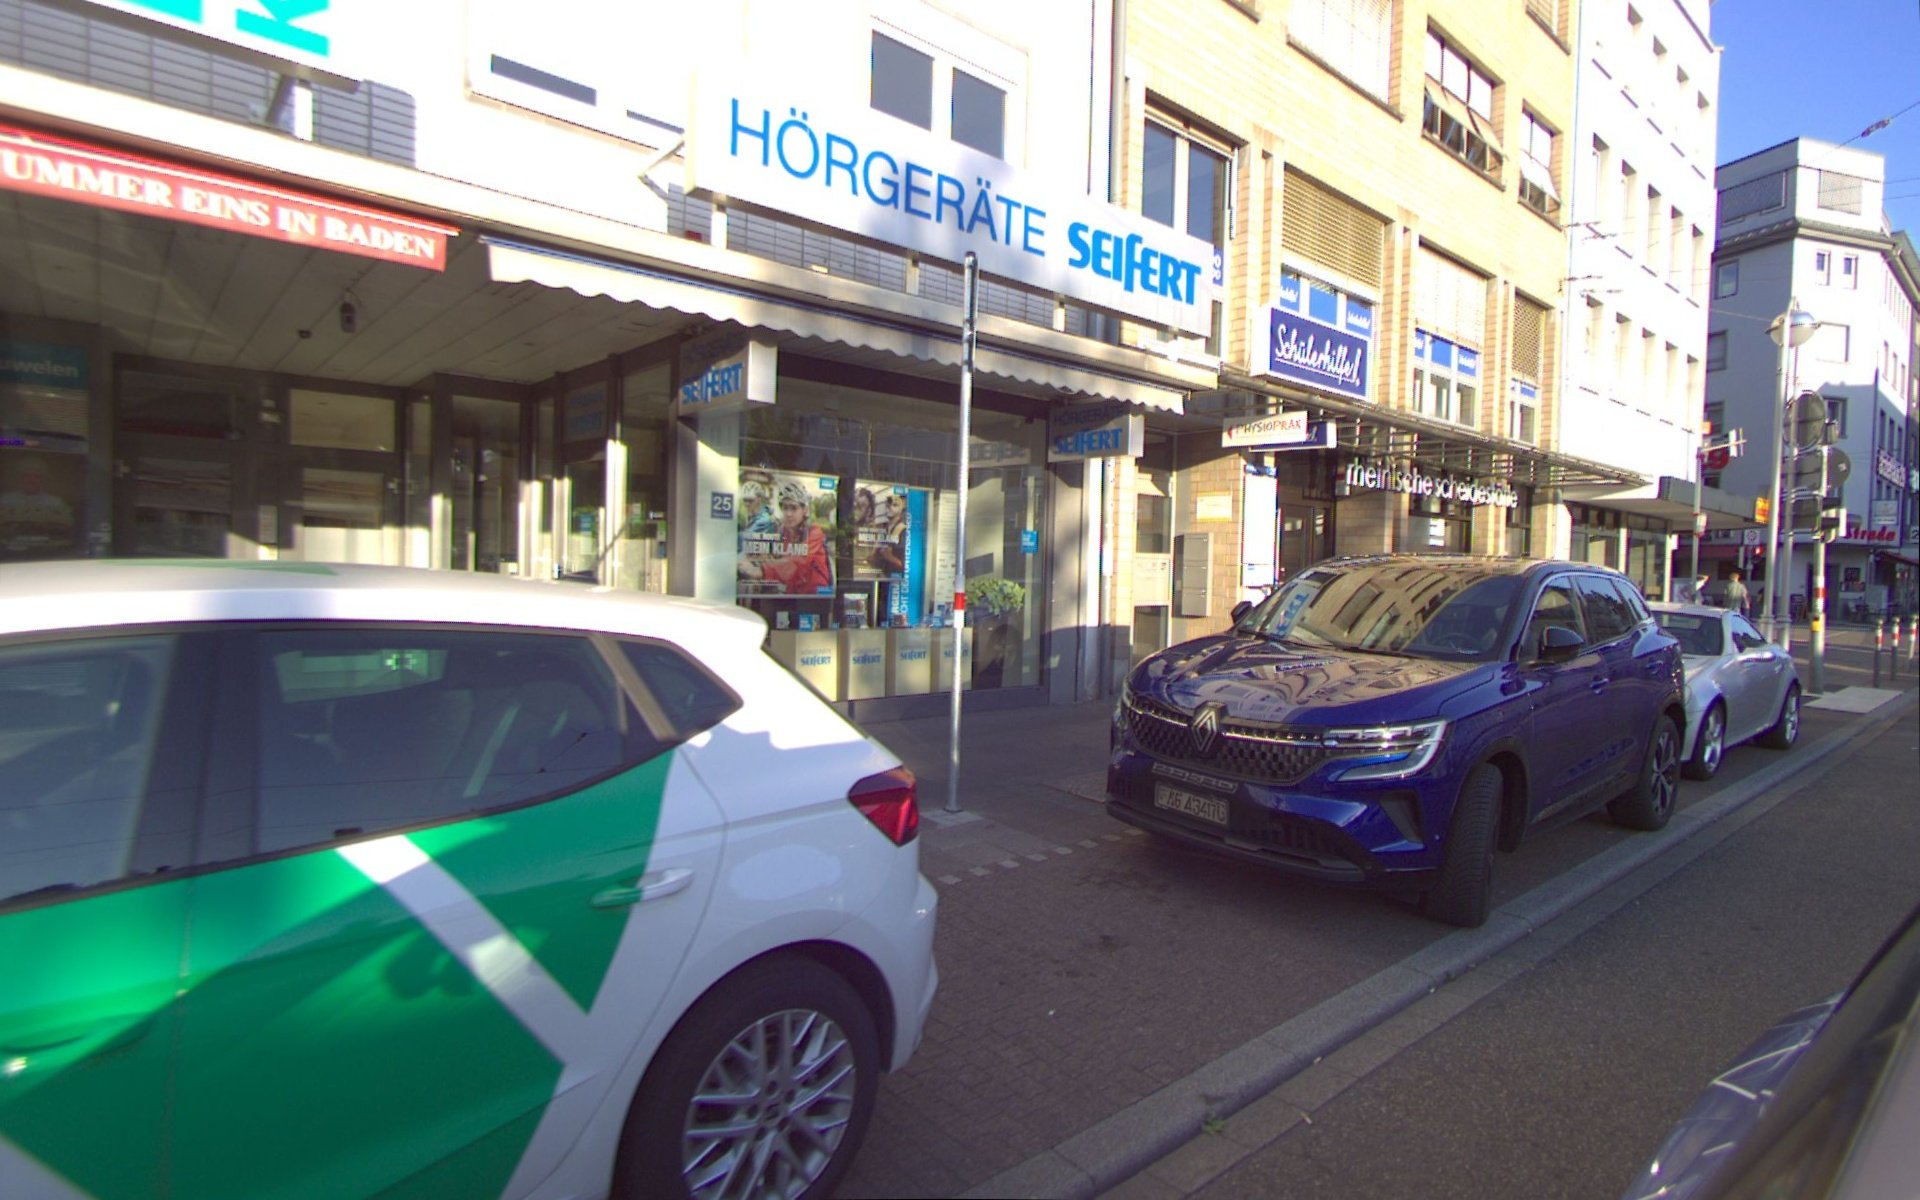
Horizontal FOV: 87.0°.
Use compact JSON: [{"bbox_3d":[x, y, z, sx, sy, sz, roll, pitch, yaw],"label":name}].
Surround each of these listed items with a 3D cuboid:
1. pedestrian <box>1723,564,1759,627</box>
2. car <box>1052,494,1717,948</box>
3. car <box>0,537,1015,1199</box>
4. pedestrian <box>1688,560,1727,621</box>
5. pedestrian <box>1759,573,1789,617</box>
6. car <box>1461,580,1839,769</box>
[{"bbox_3d":[22.932,-0.134,29.709,0.747,1.795,0.578,3,2,42],"label":"pedestrian"},{"bbox_3d":[2.616,0.385,5.678,4.213,1.625,1.768,0,2,-42],"label":"car"},{"bbox_3d":[-1.942,0.611,1.865,4.083,1.452,1.733,-2,4,-42],"label":"car"},{"bbox_3d":[22.580,-0.287,30.573,0.628,1.795,0.749,0,2,-38],"label":"pedestrian"},{"bbox_3d":[32.271,-0.202,40.113,0.577,1.676,0.798,0,2,-44],"label":"pedestrian"},{"bbox_3d":[6.318,0.496,9.111,3.990,1.298,1.678,-1,3,-38],"label":"car"}]
